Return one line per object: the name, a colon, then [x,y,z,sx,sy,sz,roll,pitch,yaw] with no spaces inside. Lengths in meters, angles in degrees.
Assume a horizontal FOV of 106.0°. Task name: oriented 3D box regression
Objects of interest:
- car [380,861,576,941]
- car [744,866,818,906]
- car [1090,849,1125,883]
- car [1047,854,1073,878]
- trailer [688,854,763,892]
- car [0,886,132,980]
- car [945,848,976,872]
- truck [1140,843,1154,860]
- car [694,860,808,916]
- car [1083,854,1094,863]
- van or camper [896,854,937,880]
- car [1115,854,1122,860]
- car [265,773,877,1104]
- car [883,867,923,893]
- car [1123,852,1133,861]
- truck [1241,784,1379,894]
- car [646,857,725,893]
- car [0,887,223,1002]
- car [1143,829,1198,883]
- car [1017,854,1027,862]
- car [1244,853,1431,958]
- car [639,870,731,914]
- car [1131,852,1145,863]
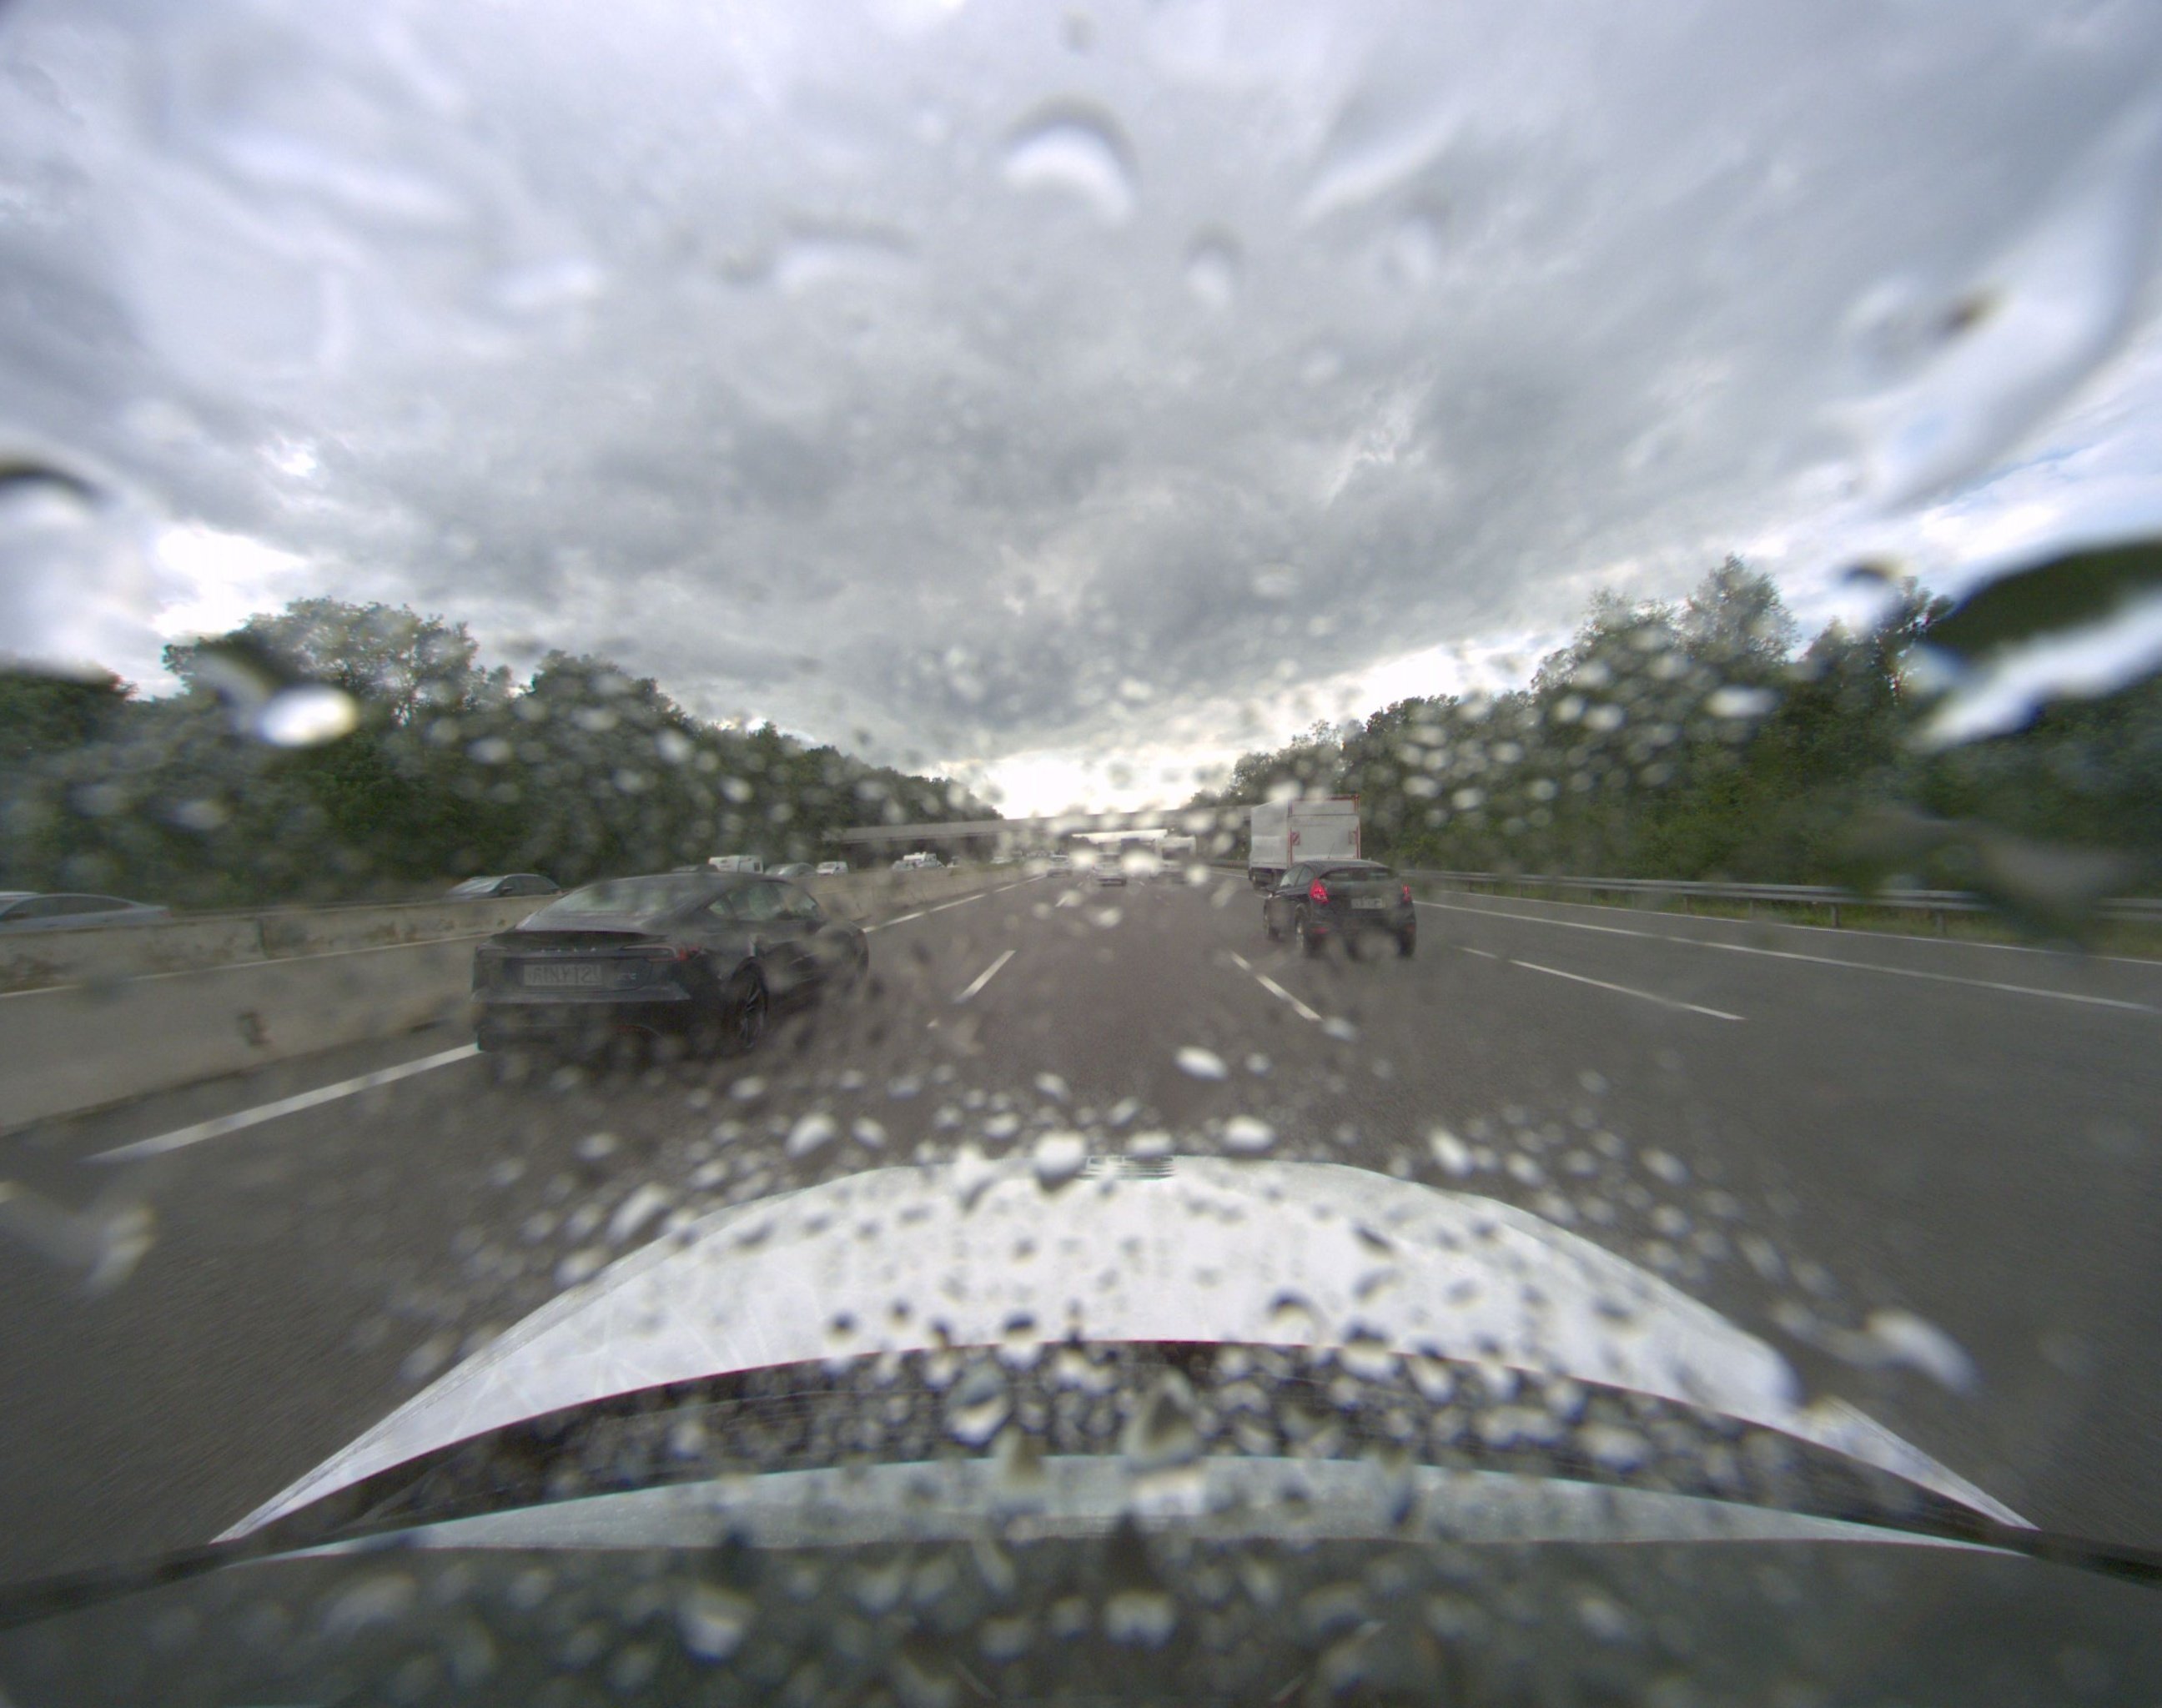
car: [-17.245,1.254,23.682,1.986,2.013,4.767,-1,0,2]
car: [-16.687,1.732,45.579,1.986,1.952,5.228,-1,0,2]
car: [1.465,0.607,43.982,1.774,1.716,4.355,-1,0,2]
car: [-1.589,0.876,63.531,1.809,1.689,4.853,-2,0,1]
trailer: [-23.515,1.197,54.142,2.233,2.374,5.786,-1,0,2]
car: [-25.018,1.821,17.825,2.233,1.952,5.228,-1,0,2]
car: [-11.617,0.533,78.595,1.986,2.181,5.292,-1,0,2]
truck: [15.752,-0.585,193.869,2.895,3.810,7.277,-1,0,2]
car: [-12.948,1.255,32.399,2.233,1.952,5.228,-1,0,2]
car: [1.219,0.761,138.168,1.774,1.481,4.354,-1,0,2]
van or camper: [-18.494,1.380,92.044,2.595,2.706,8.129,-1,0,2]
car: [11.373,0.946,249.547,1.876,1.686,3.998,-1,0,-1]
car: [-3.514,0.464,7.155,1.986,1.820,5.164,-1,0,1]
car: [-15.530,2.231,71.314,1.986,2.082,5.651,-1,0,2]
car: [10.356,0.553,178.274,2.035,1.823,4.906,-1,0,2]
truck: [8.803,-0.534,32.754,3.121,3.709,9.854,-1,0,3]
car: [-23.662,1.213,49.008,1.986,1.952,5.228,-1,0,2]
car: [-20.963,1.761,16.137,2.233,1.952,5.228,-1,0,2]
car: [5.184,0.100,48.212,2.557,2.895,7.536,-1,0,1]
car: [-15.412,1.093,213.457,2.212,1.952,4.831,-1,0,2]
car: [3.993,0.720,13.473,1.877,1.406,4.284,-1,0,2]
car: [-20.159,1.863,41.770,1.986,1.952,5.228,-1,0,2]
car: [9.403,0.571,135.116,2.035,1.823,4.906,-1,0,2]
